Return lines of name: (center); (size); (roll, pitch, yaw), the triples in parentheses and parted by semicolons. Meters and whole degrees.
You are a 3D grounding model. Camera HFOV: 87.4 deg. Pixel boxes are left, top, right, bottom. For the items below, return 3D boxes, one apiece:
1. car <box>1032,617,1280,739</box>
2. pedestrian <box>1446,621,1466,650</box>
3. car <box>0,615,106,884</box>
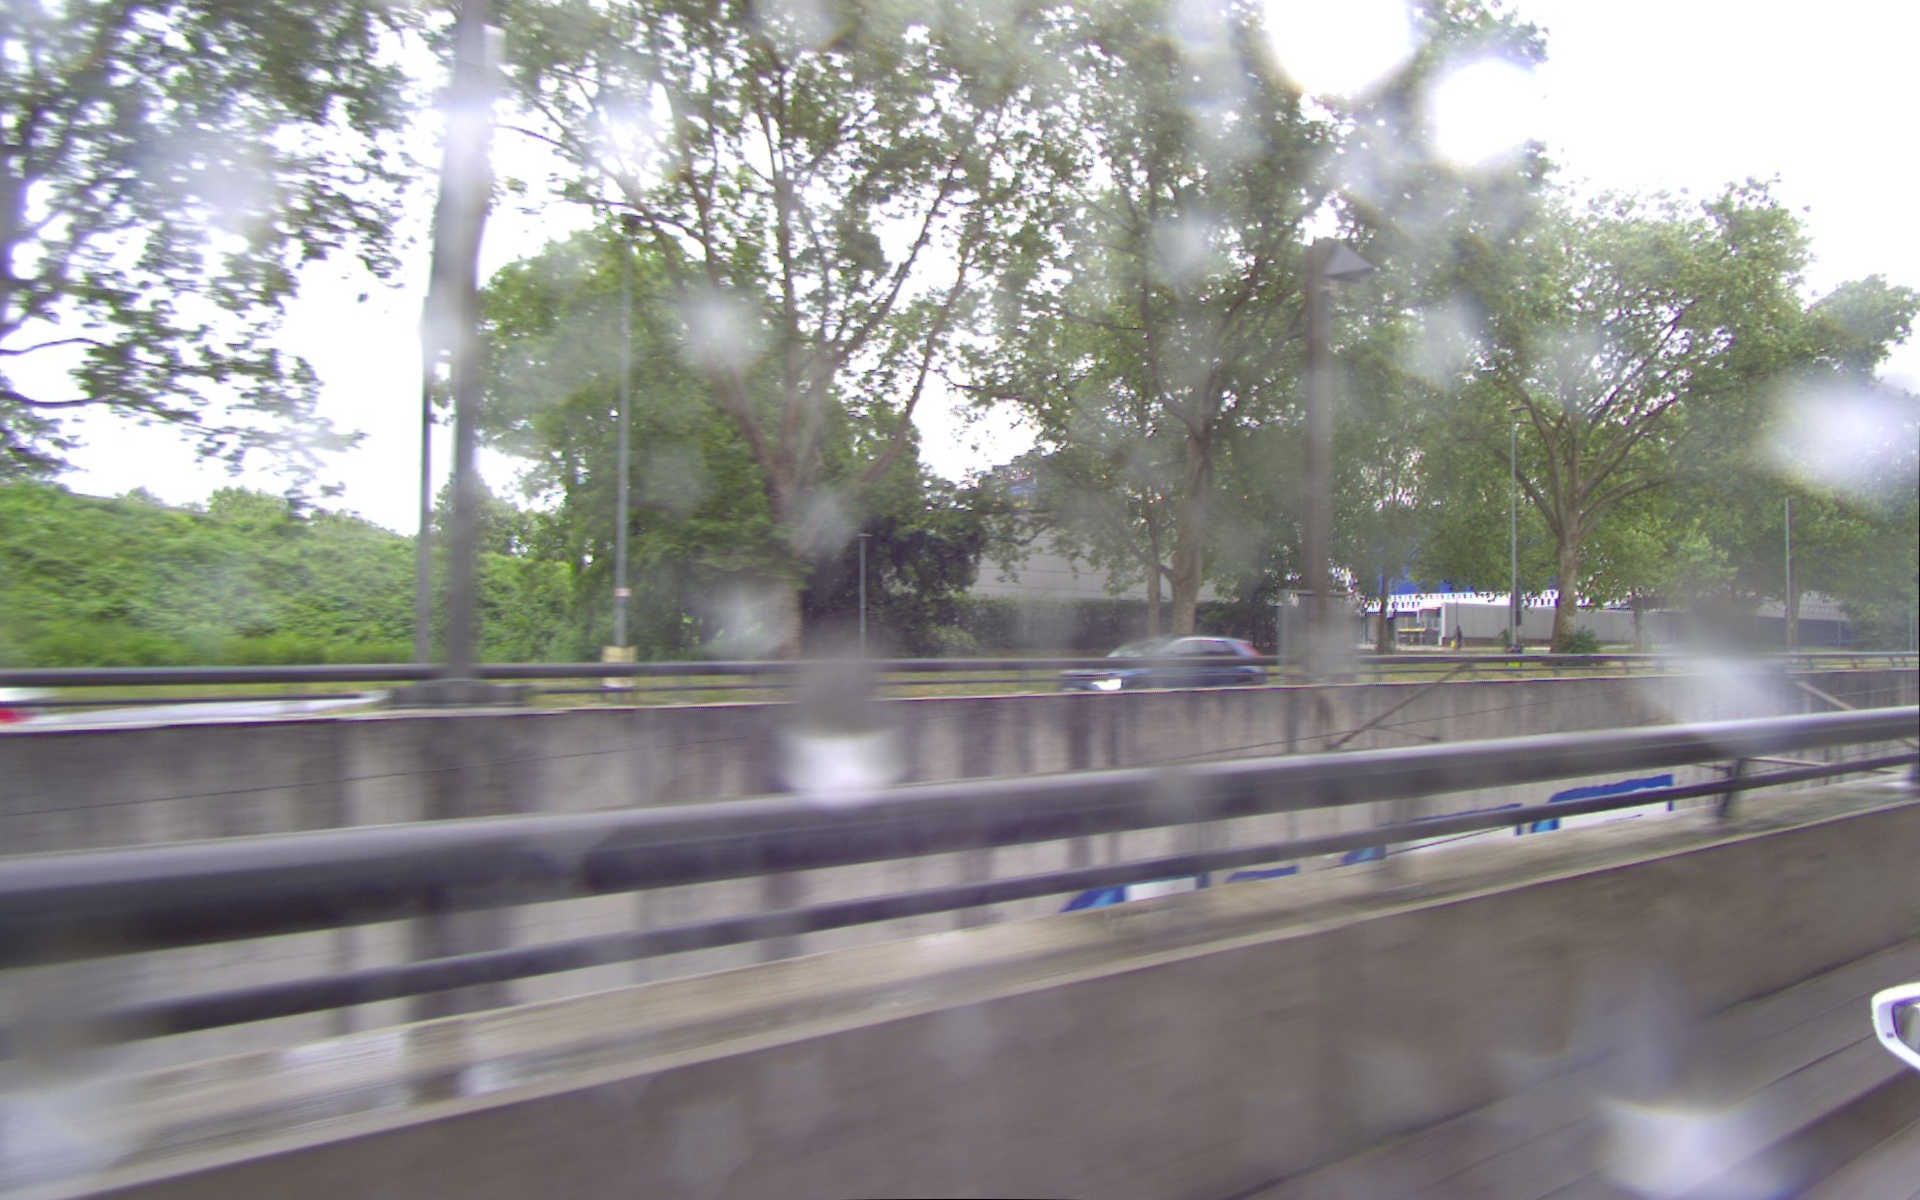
car: (3.797, 1.417, 19.287); (4.458, 2.040, 1.984); (2, 0, -31)
pedestrian: (35.803, 2.535, 72.546); (0.780, 2.040, 0.997); (1, 0, -28)
car: (-9.715, 1.130, 7.639); (4.562, 2.040, 1.984); (2, 0, -31)
